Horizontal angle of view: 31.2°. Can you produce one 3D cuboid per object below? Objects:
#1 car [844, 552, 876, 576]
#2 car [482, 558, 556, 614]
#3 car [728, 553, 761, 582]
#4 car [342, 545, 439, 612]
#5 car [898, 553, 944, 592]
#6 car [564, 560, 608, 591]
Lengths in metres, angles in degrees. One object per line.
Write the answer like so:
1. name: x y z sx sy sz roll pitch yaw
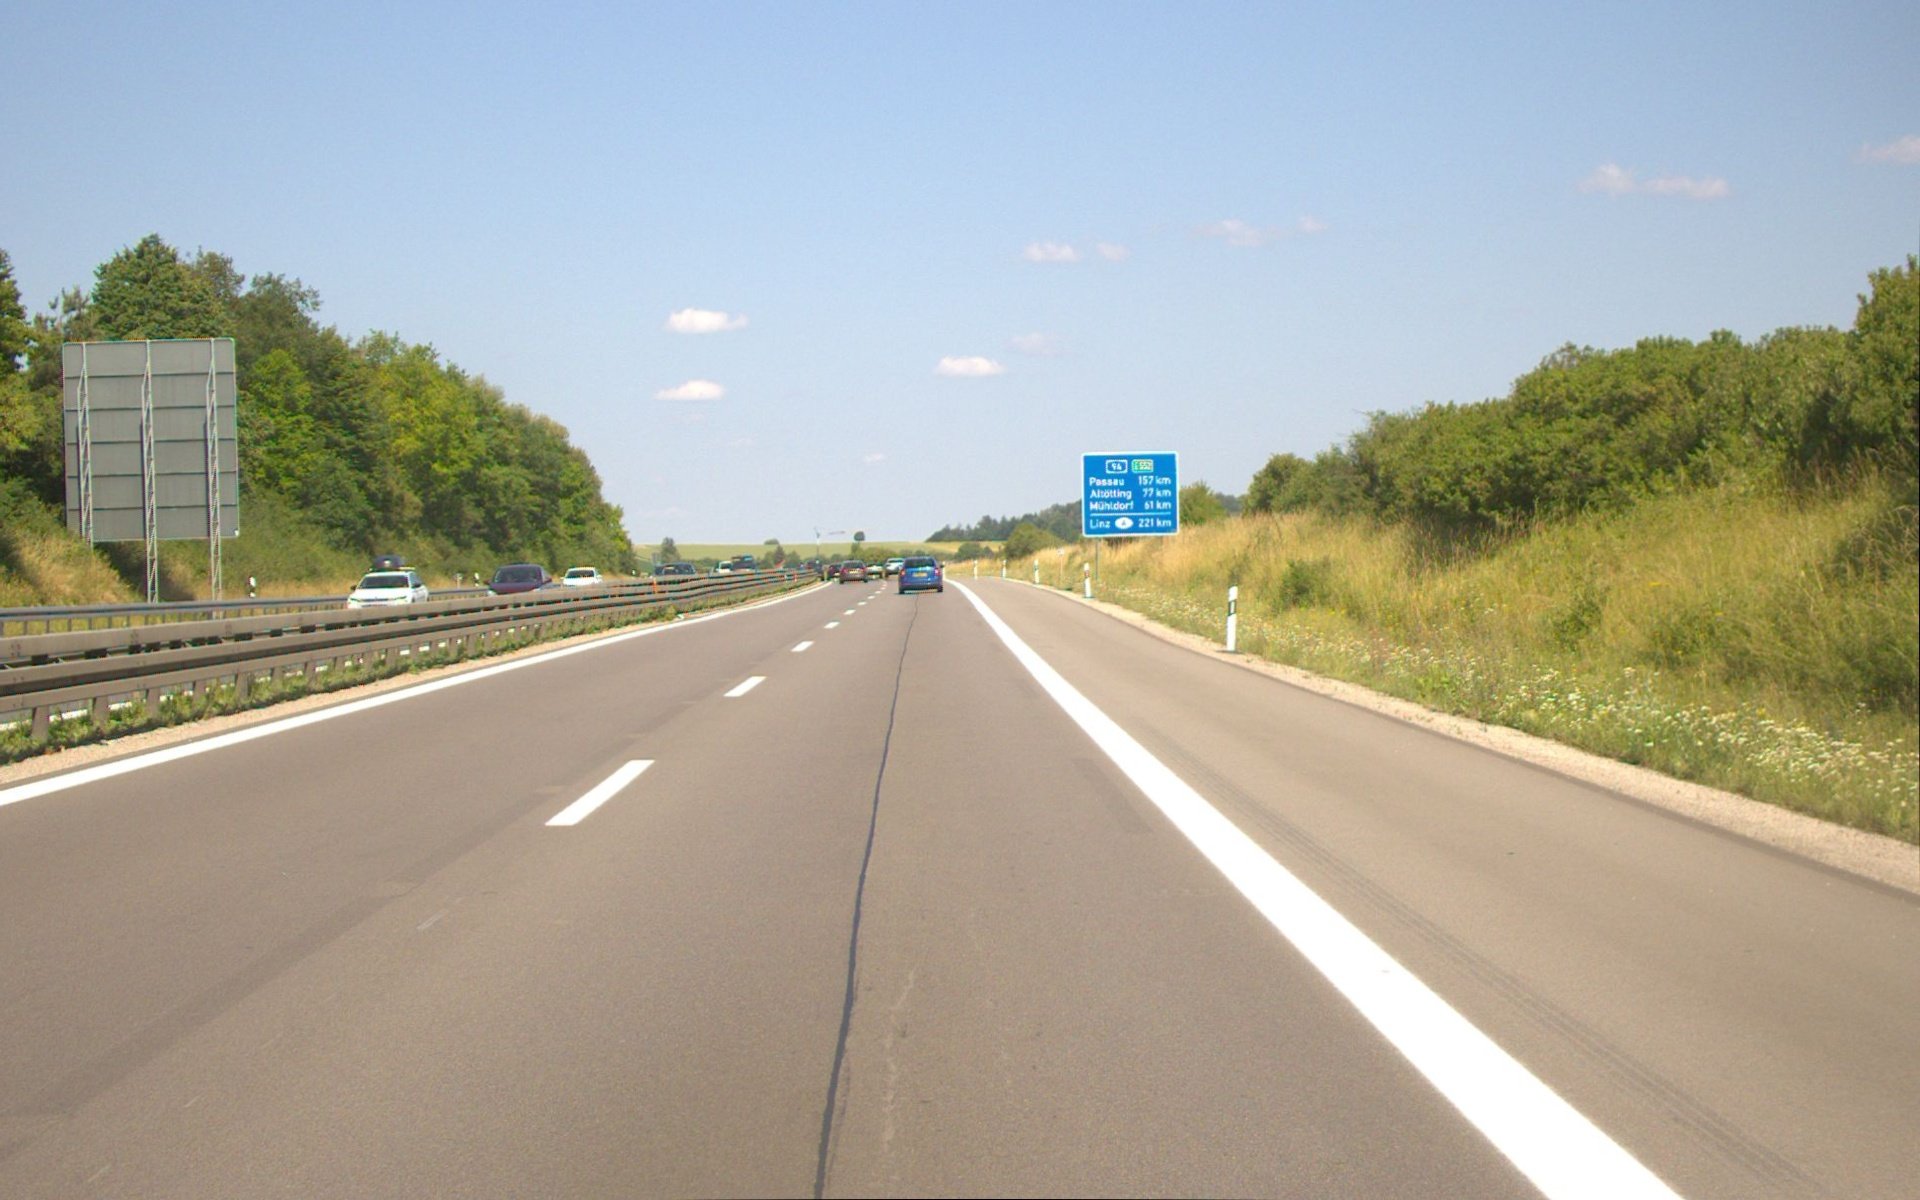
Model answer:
1. car: -6.363 -2.265 218.384 1.829 1.448 3.592 -3 0 0
2. car: -12.632 -0.418 98.616 1.616 1.526 4.000 -1 1 0
3. car: -15.051 -2.288 240.113 1.993 1.966 5.039 -1 1 0
4. car: -16.354 -0.636 98.945 1.945 1.839 5.184 -1 1 0
5. car: -1.511 -1.078 135.804 1.676 1.448 3.592 -3 0 1
6. car: -17.048 -1.111 156.853 1.522 1.348 4.232 -1 1 0
